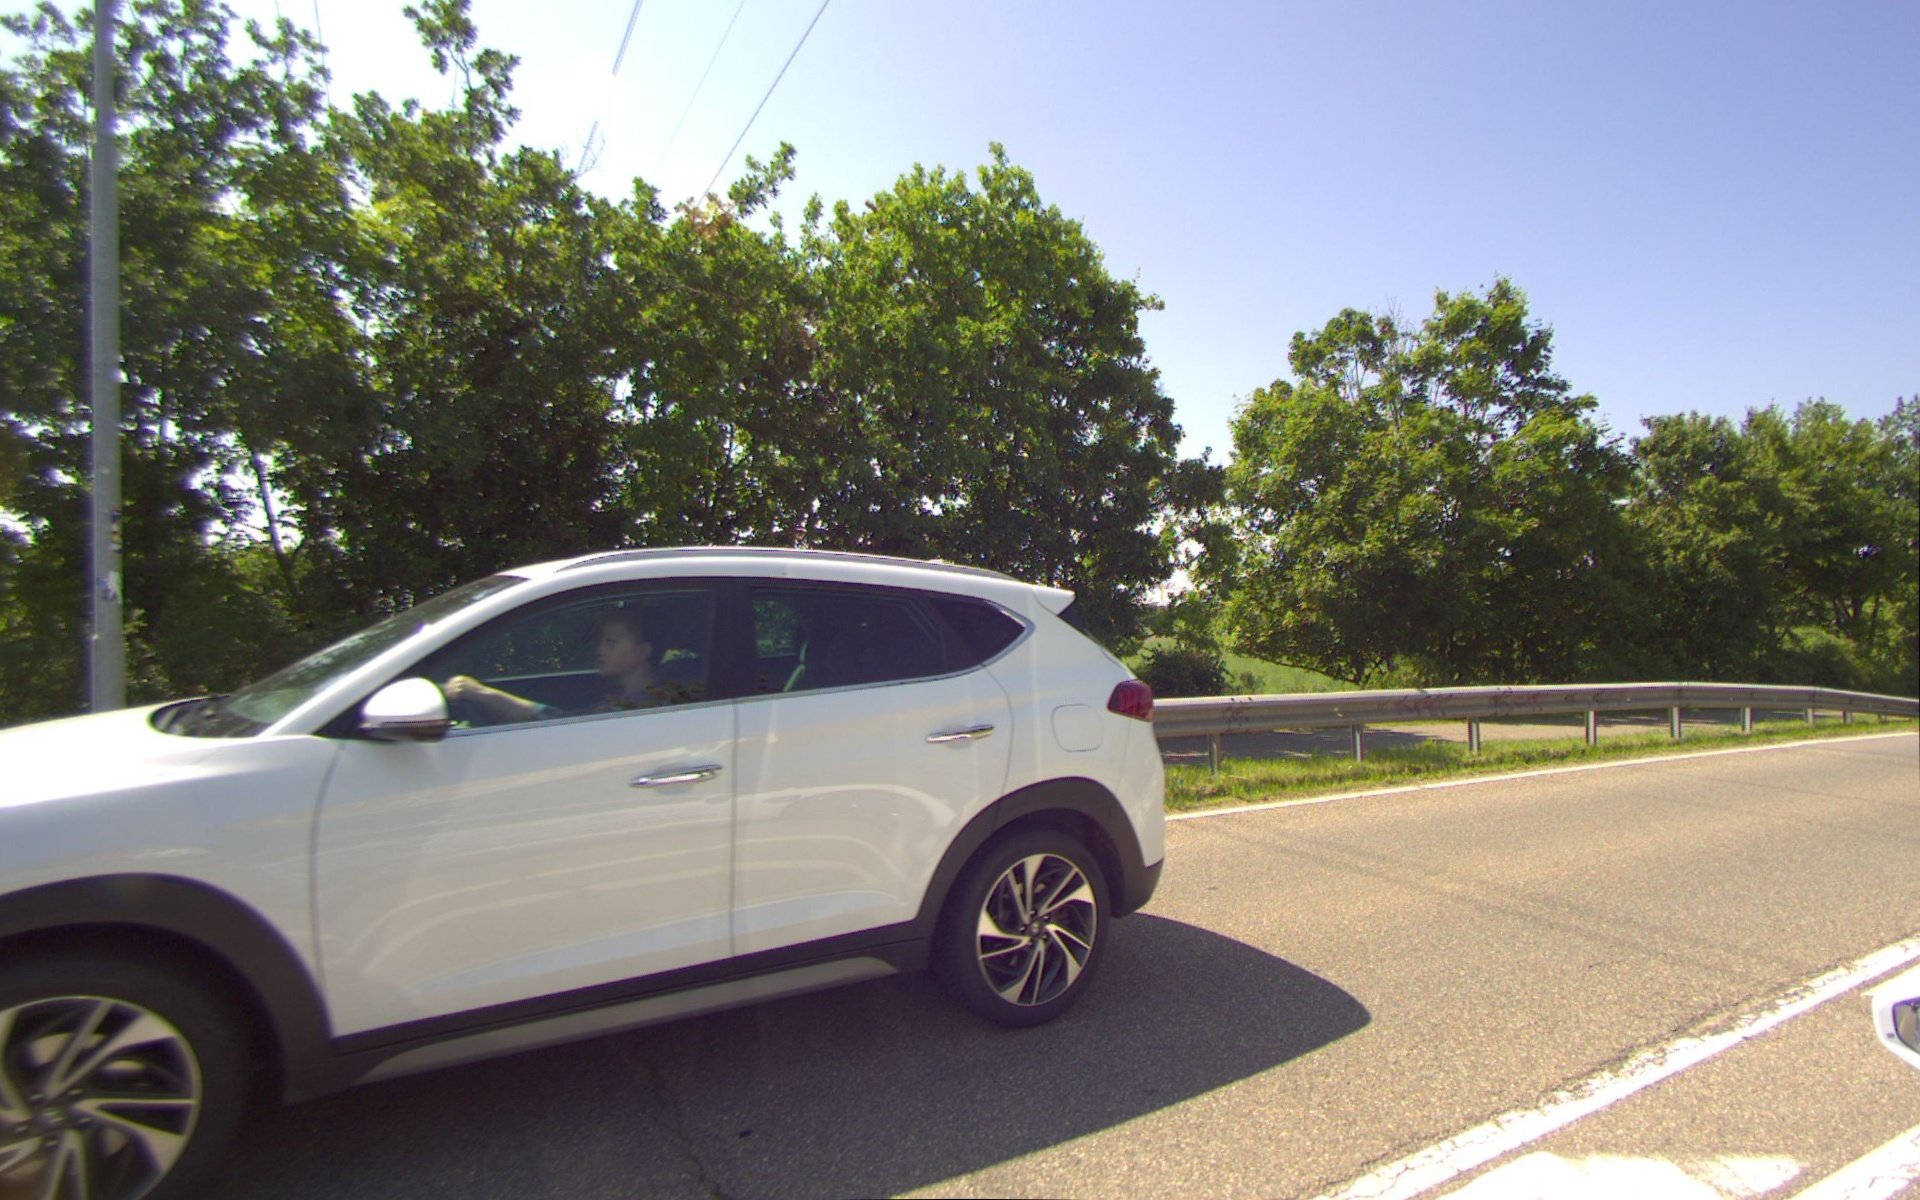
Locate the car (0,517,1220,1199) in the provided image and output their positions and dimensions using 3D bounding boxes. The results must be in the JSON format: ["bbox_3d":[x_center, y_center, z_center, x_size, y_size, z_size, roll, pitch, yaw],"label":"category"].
[{"bbox_3d":[-1.188,0.675,3.659,4.094,1.661,1.814,1,0,-31],"label":"car"}]
